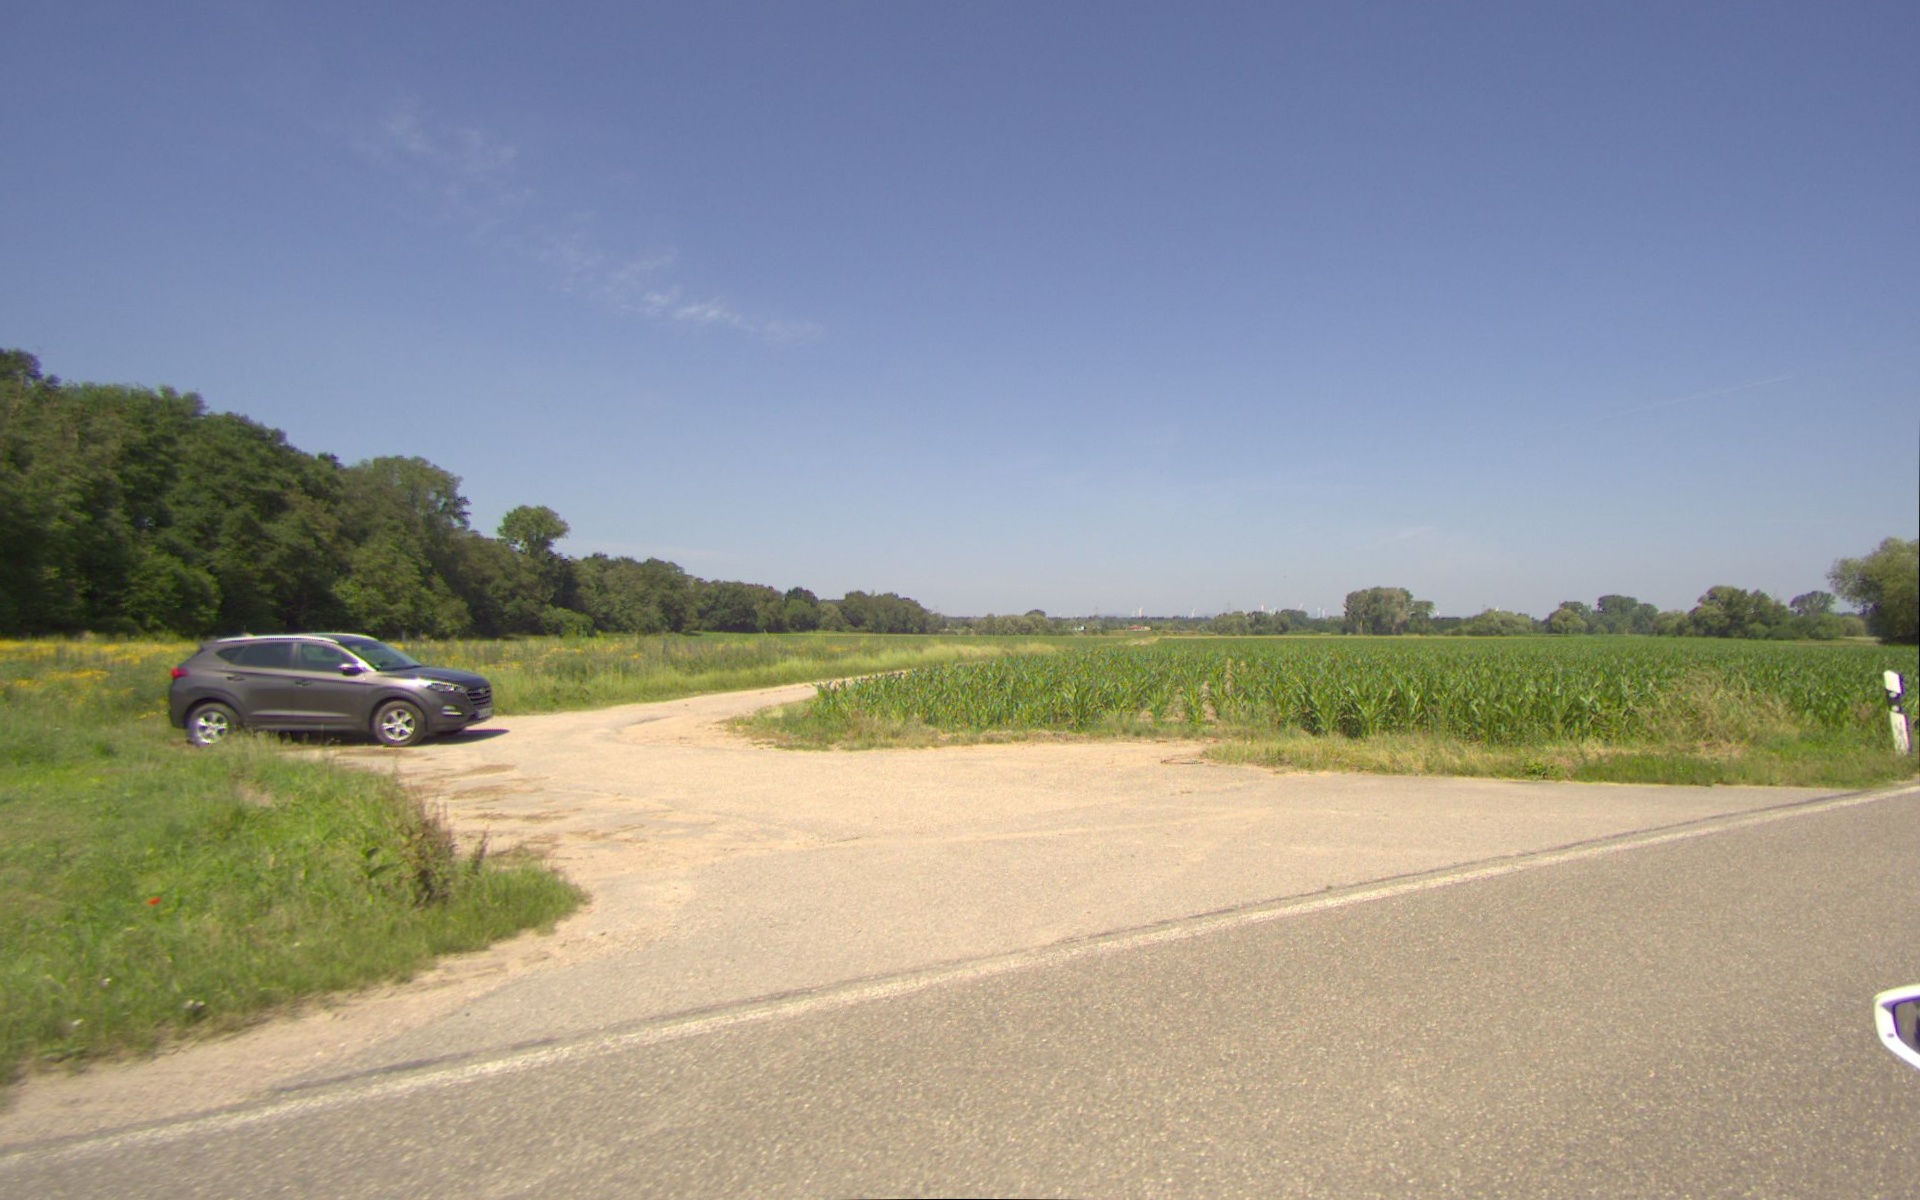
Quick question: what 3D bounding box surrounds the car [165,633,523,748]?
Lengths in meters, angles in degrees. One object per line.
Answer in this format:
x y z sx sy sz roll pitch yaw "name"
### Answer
-9.466 1.359 15.738 4.442 1.673 1.758 0 -2 -4 "car"
